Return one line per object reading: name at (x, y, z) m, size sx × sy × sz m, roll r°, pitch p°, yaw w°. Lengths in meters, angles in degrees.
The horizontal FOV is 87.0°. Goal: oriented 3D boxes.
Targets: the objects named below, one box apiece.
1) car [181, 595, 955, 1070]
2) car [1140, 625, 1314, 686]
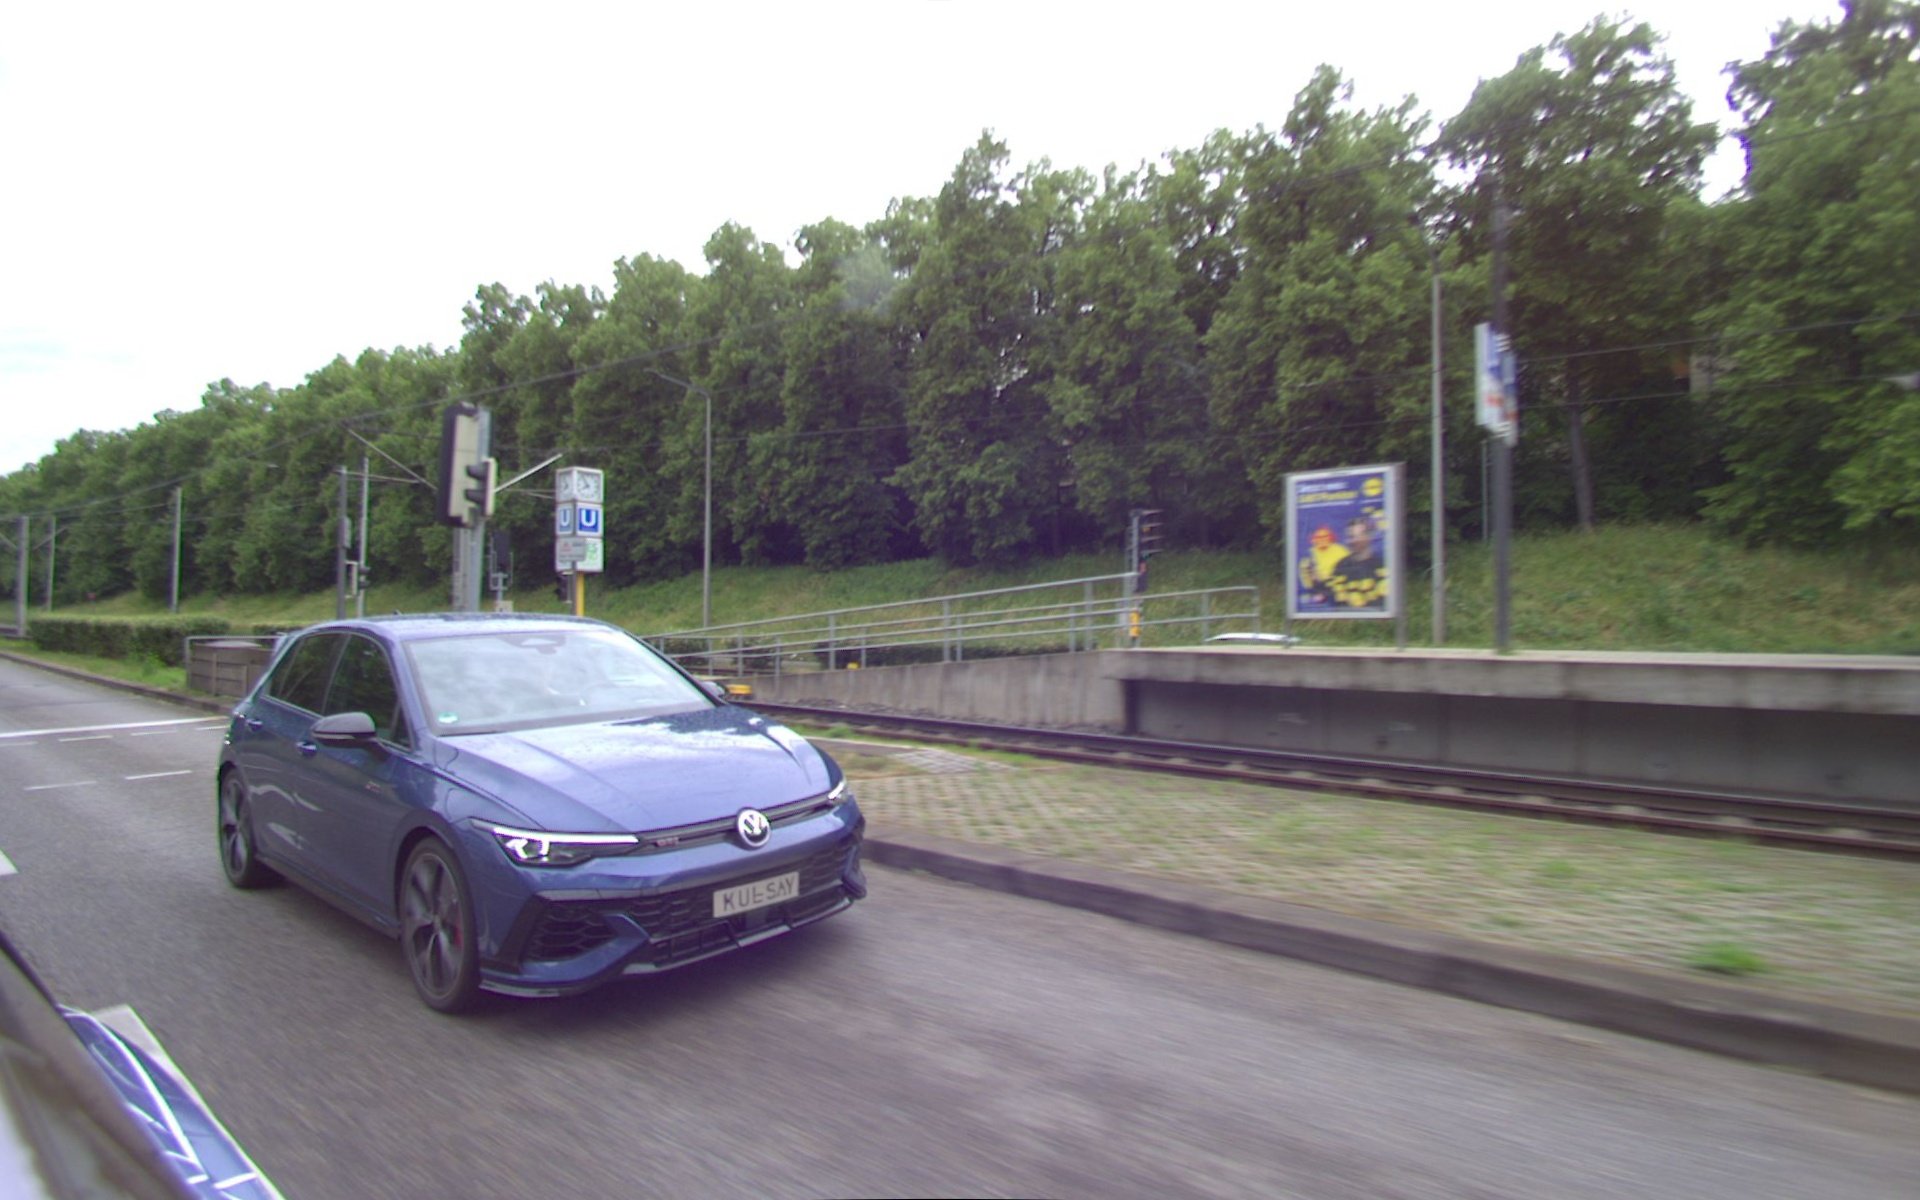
car at (-2.254, 0.716, 5.098) m, size 4.344 × 1.389 × 1.790 m, roll -1°, pitch 0°, yaw 41°
car at (6.856, 1.373, 26.142) m, size 3.991 × 1.414 × 1.780 m, roll -1°, pitch -1°, yaw 35°
